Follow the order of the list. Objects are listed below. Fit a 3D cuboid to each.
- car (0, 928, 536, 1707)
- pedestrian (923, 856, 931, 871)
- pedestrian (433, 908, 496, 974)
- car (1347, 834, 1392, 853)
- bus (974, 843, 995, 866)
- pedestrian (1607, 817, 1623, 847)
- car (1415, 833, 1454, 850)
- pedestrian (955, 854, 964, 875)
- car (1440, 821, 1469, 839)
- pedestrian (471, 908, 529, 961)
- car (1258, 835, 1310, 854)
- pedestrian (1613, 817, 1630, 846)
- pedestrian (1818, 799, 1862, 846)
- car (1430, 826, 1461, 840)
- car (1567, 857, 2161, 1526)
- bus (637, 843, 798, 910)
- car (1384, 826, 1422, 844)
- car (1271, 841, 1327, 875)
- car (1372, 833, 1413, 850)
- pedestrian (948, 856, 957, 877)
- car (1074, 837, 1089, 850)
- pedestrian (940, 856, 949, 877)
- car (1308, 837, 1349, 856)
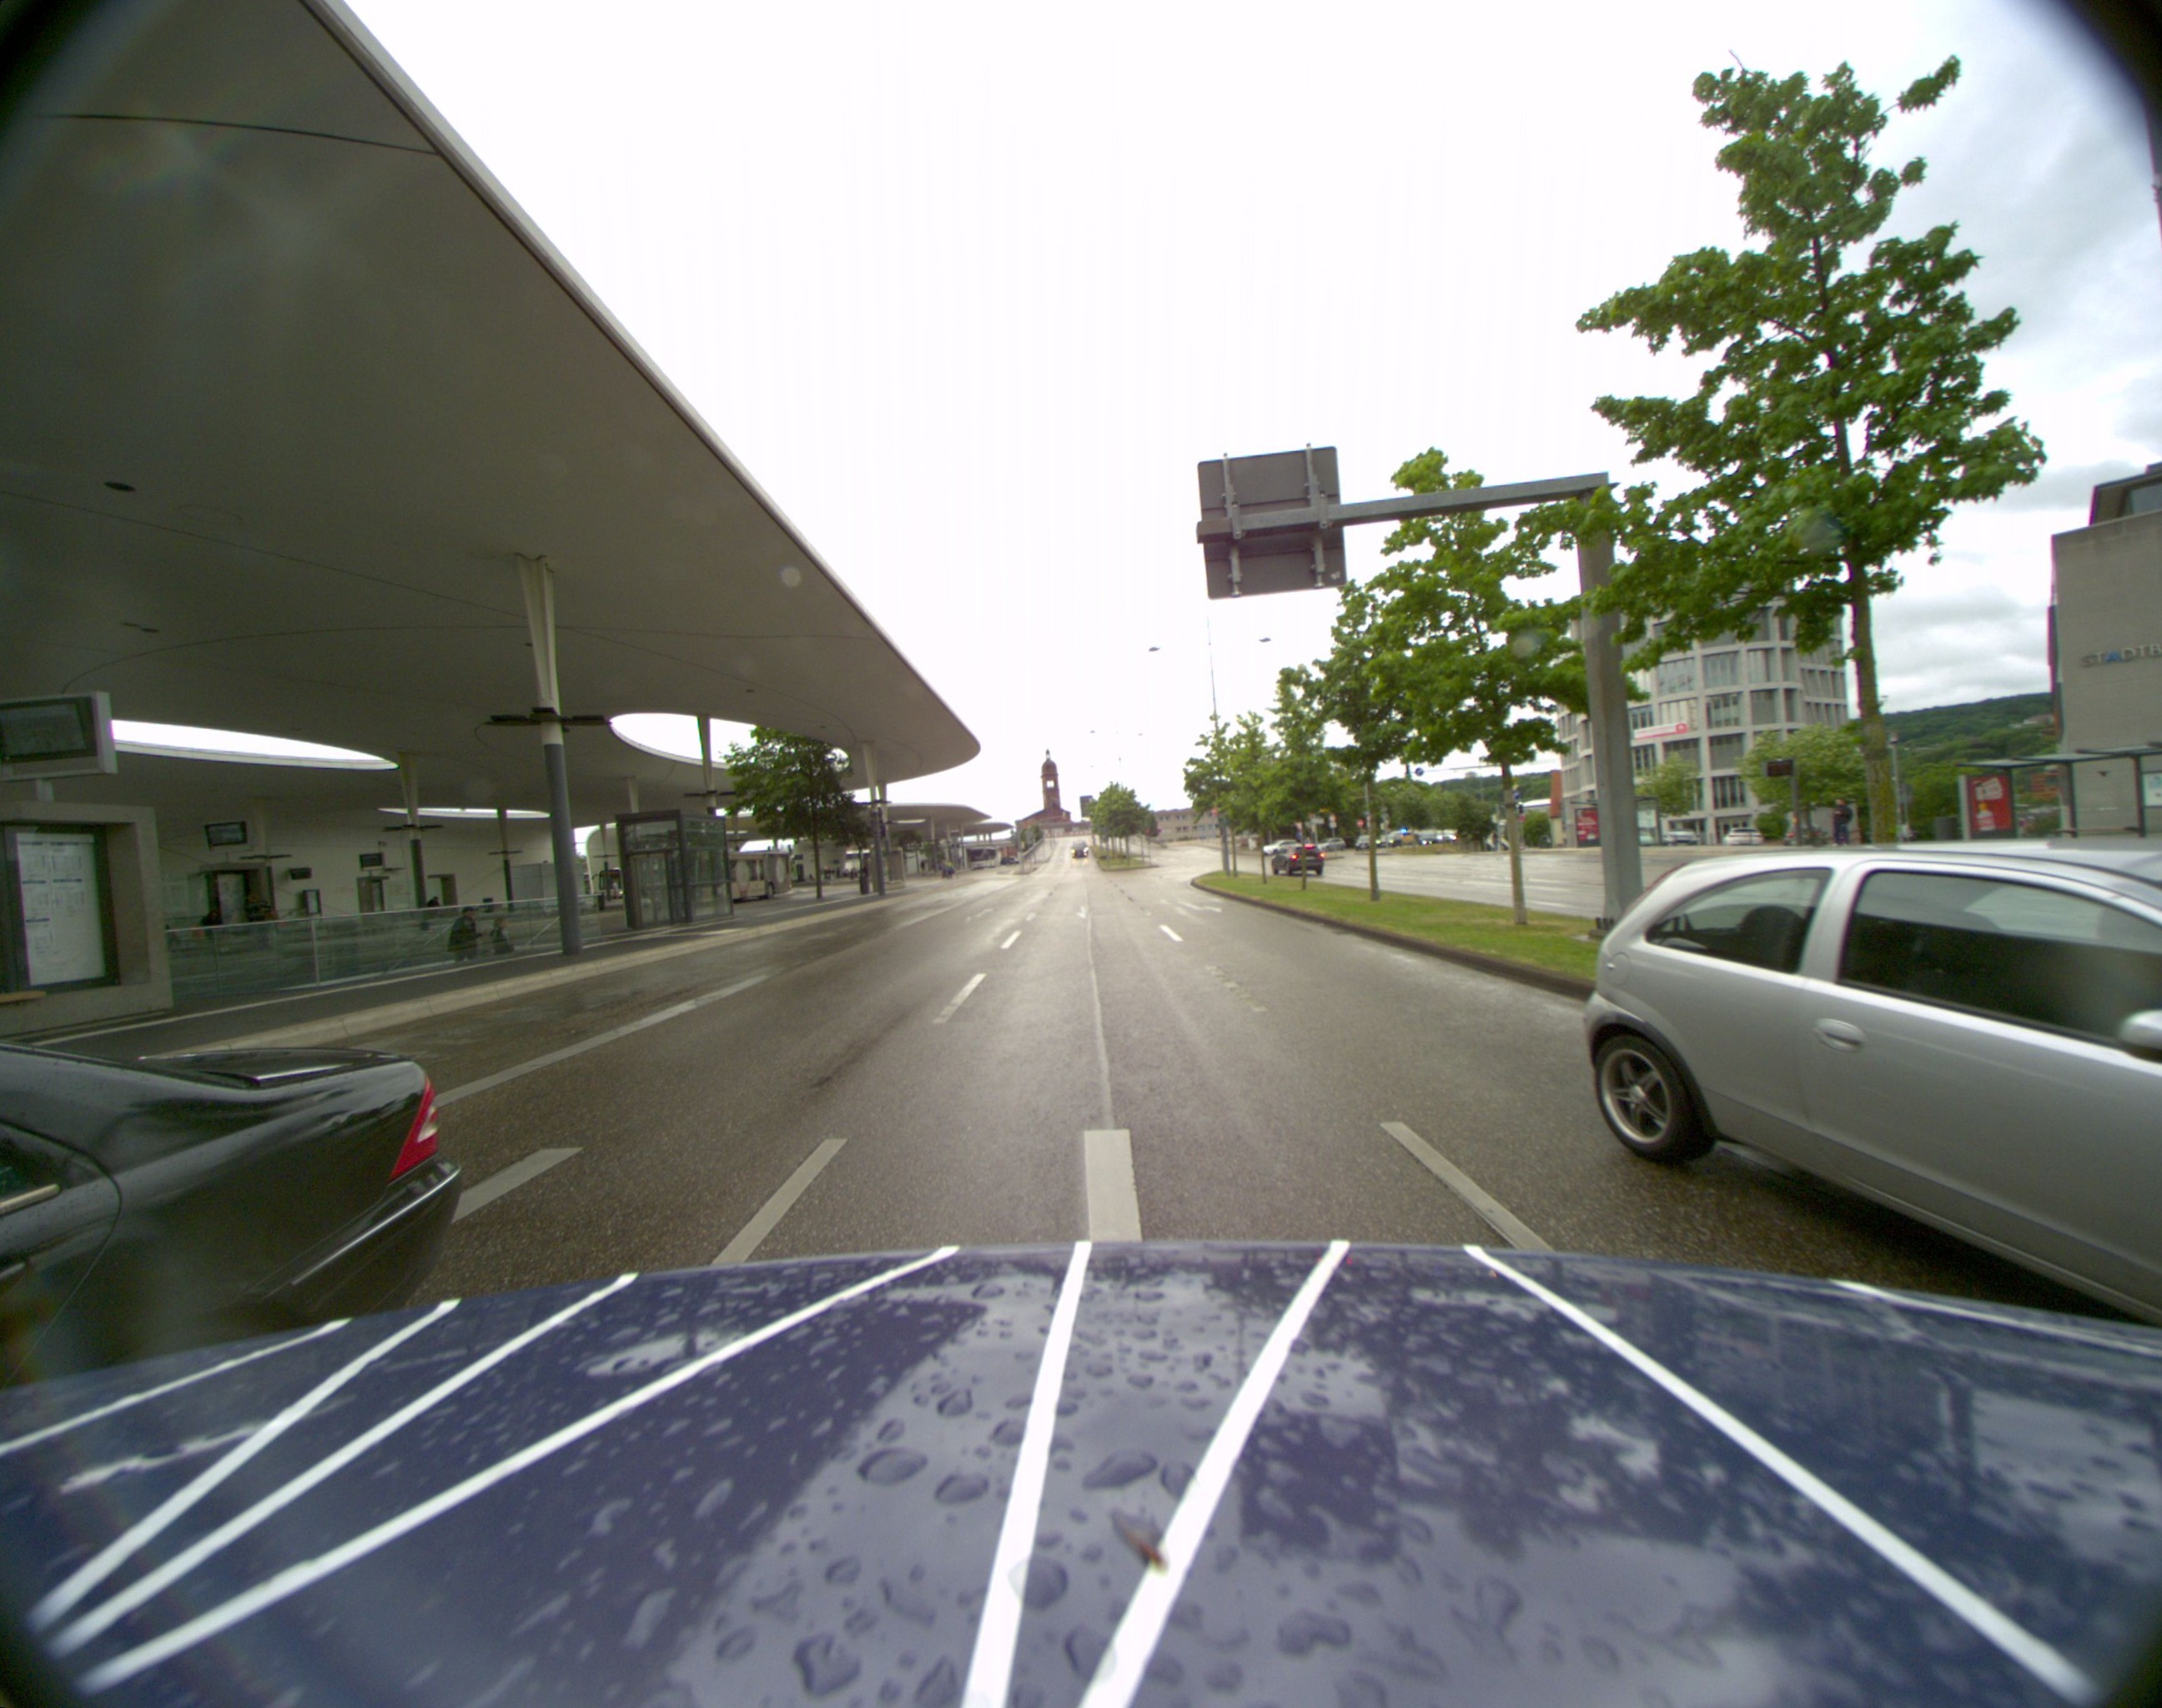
[{"bbox_3d":[-2.841,1.166,0.352,1.750,1.472,4.433,-8,2,1],"label":"car"},{"bbox_3d":[-17.862,1.080,88.160,0.723,1.621,0.753,-3,1,0],"label":"pedestrian"},{"bbox_3d":[-12.735,1.788,15.711,0.693,1.244,0.669,-3,1,1],"label":"pedestrian"},{"bbox_3d":[29.136,-1.089,76.580,4.925,1.702,2.190,-3,1,-43],"label":"car"},{"bbox_3d":[-14.301,0.060,113.269,2.675,3.111,9.712,-3,0,-5],"label":"bus"},{"bbox_3d":[29.506,-1.217,42.015,0.504,1.625,0.502,-2,1,1],"label":"pedestrian"},{"bbox_3d":[39.491,-1.432,84.827,4.925,1.702,2.190,-3,1,-43],"label":"car"},{"bbox_3d":[-9.846,0.838,61.504,0.557,1.614,0.552,-3,1,1],"label":"pedestrian"},{"bbox_3d":[45.970,-2.995,93.525,1.995,2.002,4.007,-2,1,44],"label":"car"},{"bbox_3d":[-11.767,1.622,15.409,0.622,0.957,0.638,-3,1,1],"label":"pedestrian"},{"bbox_3d":[21.387,-0.962,79.971,4.921,1.702,2.192,-3,1,-21],"label":"car"},{"bbox_3d":[30.055,-1.244,42.248,0.520,1.625,0.536,-2,1,1],"label":"pedestrian"},{"bbox_3d":[29.033,-1.197,29.073,0.787,1.750,0.972,-3,1,-28],"label":"pedestrian"},{"bbox_3d":[49.188,-2.825,102.478,4.925,1.702,2.190,-3,1,-45],"label":"car"},{"bbox_3d":[3.283,0.794,1.930,1.627,1.450,3.735,-3,0,-1],"label":"car"},{"bbox_3d":[-19.769,1.057,42.662,3.003,3.088,12.353,-3,0,0],"label":"bus"},{"bbox_3d":[39.016,-2.317,91.999,5.043,2.002,2.304,-3,1,-43],"label":"car"},{"bbox_3d":[11.656,0.196,40.984,1.826,1.630,4.600,-3,0,3],"label":"car"},{"bbox_3d":[33.829,-1.366,82.450,4.925,1.702,2.190,-3,1,-43],"label":"car"},{"bbox_3d":[-10.437,1.008,61.684,0.557,1.614,0.552,-3,1,1],"label":"pedestrian"},{"bbox_3d":[0.078,-1.379,101.408,1.704,1.656,3.998,-3,1,-2],"label":"car"},{"bbox_3d":[-11.049,1.015,61.600,0.576,1.614,0.588,-3,1,1],"label":"pedestrian"},{"bbox_3d":[26.768,-0.835,82.206,4.005,1.783,1.996,-3,1,-29],"label":"car"}]
